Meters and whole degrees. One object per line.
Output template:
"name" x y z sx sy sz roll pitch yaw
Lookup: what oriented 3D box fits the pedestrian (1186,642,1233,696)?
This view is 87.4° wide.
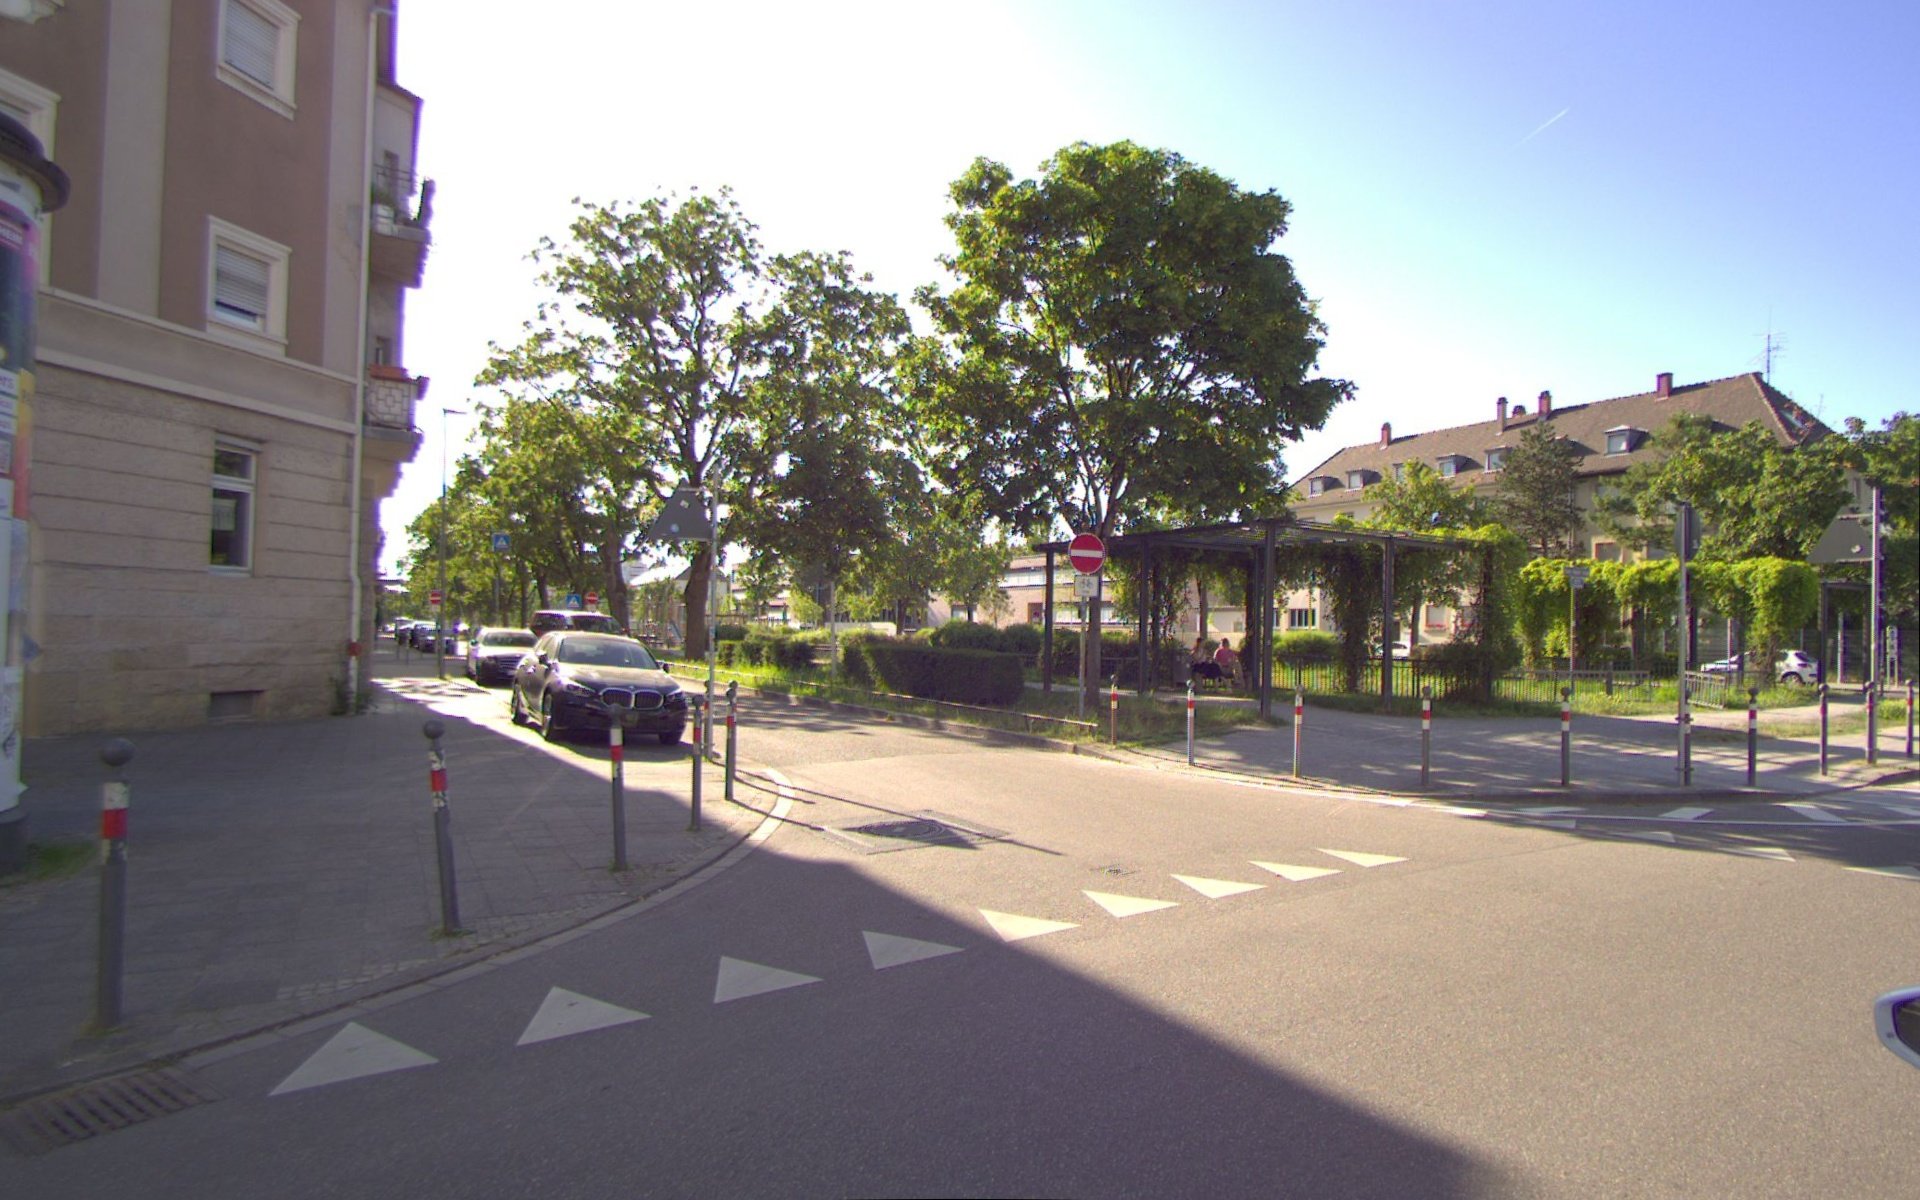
"pedestrian" 5.563 1.524 22.428 0.592 1.164 0.839 2 -2 -29

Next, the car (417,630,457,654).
"car" -28.770 2.291 55.239 1.663 1.278 3.768 2 -2 -32

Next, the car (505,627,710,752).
"car" -5.175 1.203 14.415 1.848 1.502 3.980 6 -4 -32

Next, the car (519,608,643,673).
"car" -12.843 1.335 33.896 4.817 1.986 1.887 0 -4 43

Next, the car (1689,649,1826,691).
"car" 30.344 2.644 38.323 1.687 1.416 3.746 3 -3 -31

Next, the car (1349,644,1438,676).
"car" 22.383 3.105 51.975 1.780 1.514 3.968 3 -3 -30

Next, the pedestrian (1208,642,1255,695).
"pedestrian" 6.150 1.545 22.757 0.592 1.153 0.868 2 -2 -29

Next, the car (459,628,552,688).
"car" -12.495 1.546 27.492 1.664 1.434 3.869 6 -4 -33
